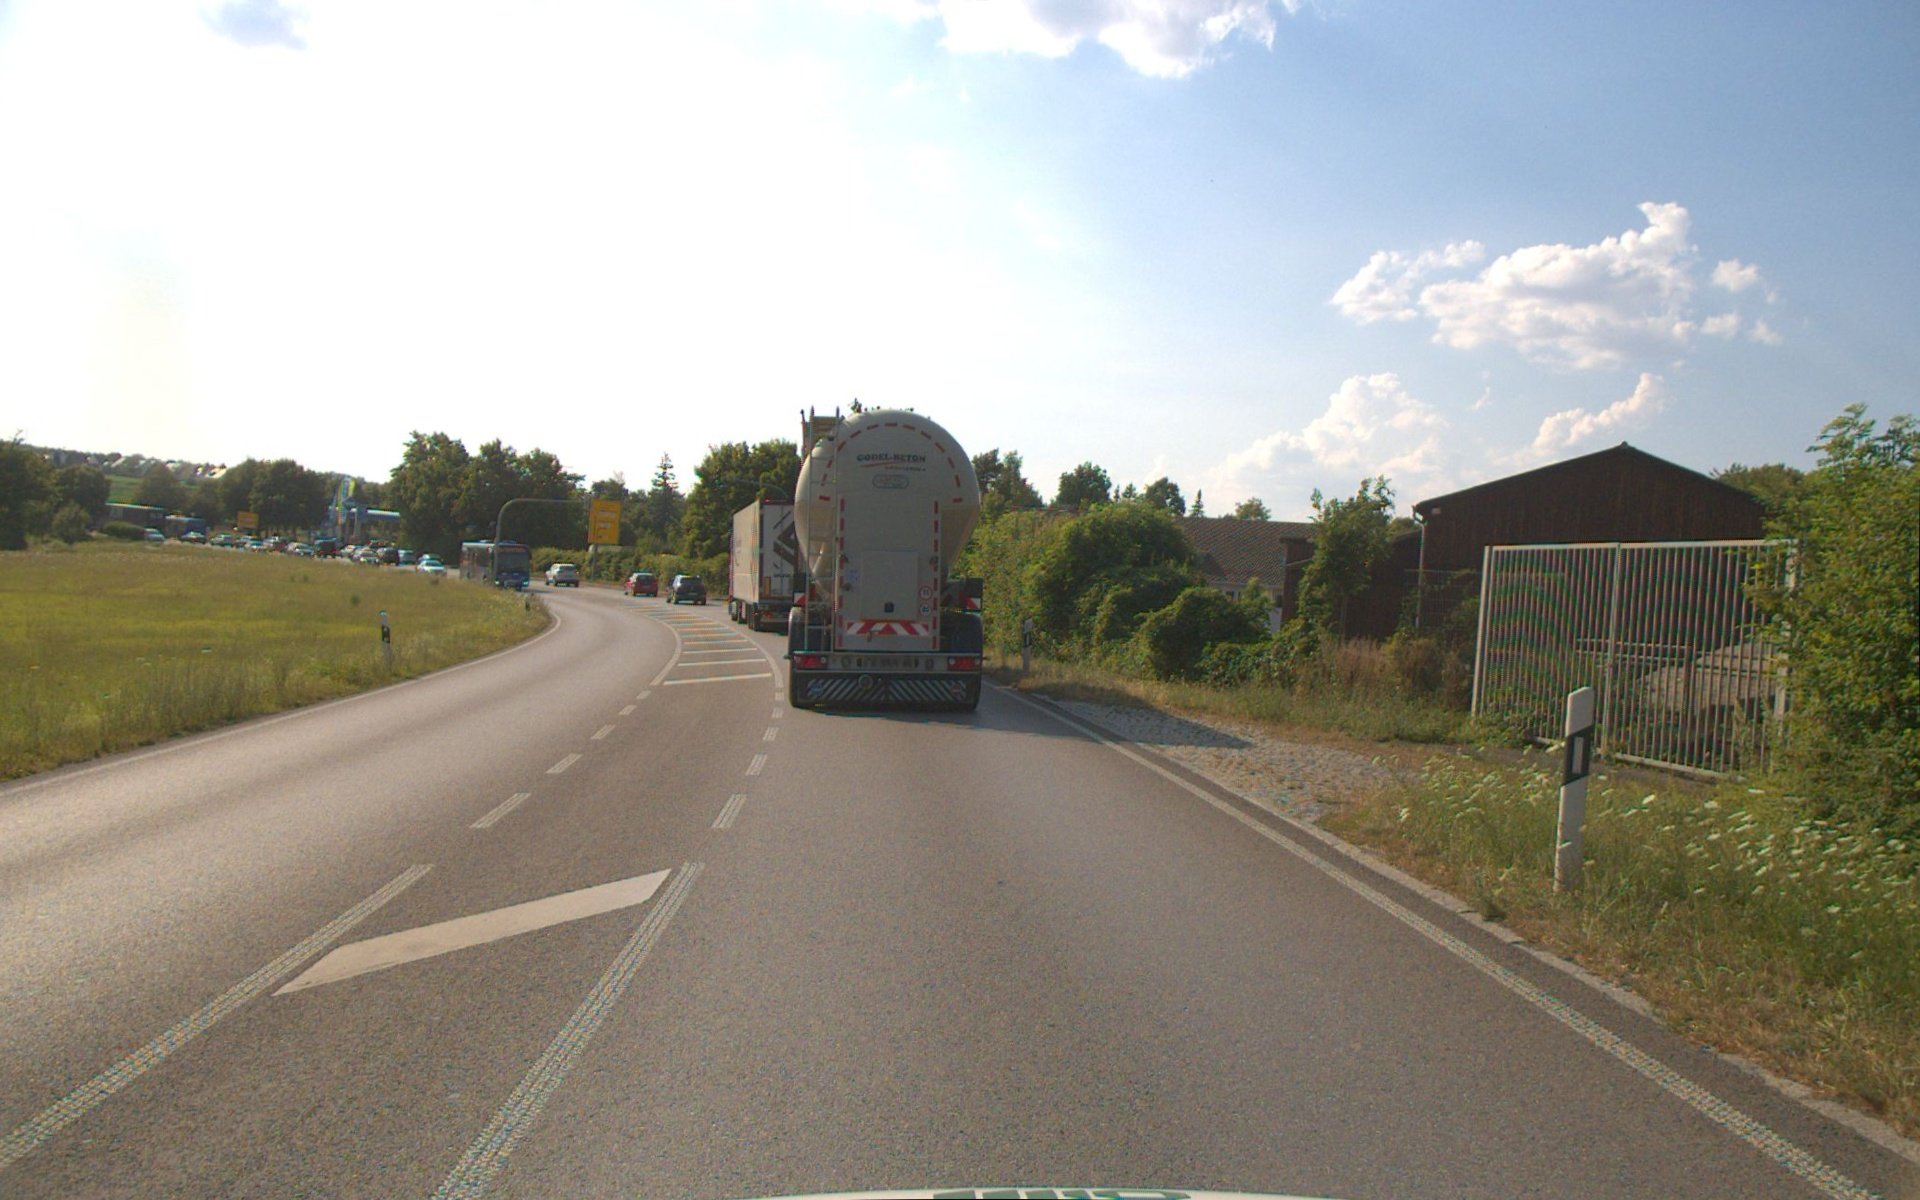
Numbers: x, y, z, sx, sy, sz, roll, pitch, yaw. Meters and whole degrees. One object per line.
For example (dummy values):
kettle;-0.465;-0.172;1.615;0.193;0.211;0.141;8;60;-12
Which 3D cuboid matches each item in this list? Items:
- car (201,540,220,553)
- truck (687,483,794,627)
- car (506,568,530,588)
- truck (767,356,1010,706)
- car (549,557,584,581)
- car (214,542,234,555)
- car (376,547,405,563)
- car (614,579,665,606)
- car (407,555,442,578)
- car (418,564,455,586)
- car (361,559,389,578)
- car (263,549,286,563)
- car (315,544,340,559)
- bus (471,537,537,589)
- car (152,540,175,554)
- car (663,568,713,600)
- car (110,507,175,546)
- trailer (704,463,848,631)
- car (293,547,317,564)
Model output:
car;-98.907;-7.009;218.267;1.863;1.627;3.959;2;1;-31
truck;-8.289;-1.582;61.724;2.915;4.972;6.401;2;-1;-16
car;-38.005;-1.891;142.150;1.498;1.685;3.846;2;-1;-22
truck;-1.452;-0.815;26.367;2.918;4.248;11.647;2;-1;-6
car;-29.996;-2.339;125.977;1.817;1.685;3.969;2;-1;-24
car;-94.751;-6.648;212.934;1.863;1.627;3.959;2;1;-31
car;-60.006;-4.756;174.149;2.064;1.627;3.958;2;1;-31
car;-20.748;-0.474;107.061;2.270;1.685;4.381;2;-1;-24
car;-42.159;-2.609;130.093;1.821;1.685;3.960;2;-1;-30
car;-42.817;-2.029;135.249;1.826;1.685;3.951;2;-1;-35
car;-56.052;-2.984;158.408;1.821;1.685;3.960;2;-1;-30
car;-84.047;-5.434;202.782;1.865;1.627;3.953;2;1;-34
car;-72.758;-5.573;190.267;2.064;1.627;3.958;2;1;-31
bus;-31.568;-2.462;114.193;2.756;3.237;12.039;2;-1;-23
car;-101.681;-6.804;211.228;1.828;1.685;3.945;2;-1;-38
car;-15.090;-0.850;91.543;1.965;1.685;3.975;2;-1;-21
car;-113.010;-10.171;228.439;13.011;5.147;3.531;3;1;43
trailer;-6.285;-1.578;54.833;2.916;4.967;10.241;2;-1;-16
car;-69.841;-4.741;176.307;1.821;1.685;3.960;2;-1;-30
